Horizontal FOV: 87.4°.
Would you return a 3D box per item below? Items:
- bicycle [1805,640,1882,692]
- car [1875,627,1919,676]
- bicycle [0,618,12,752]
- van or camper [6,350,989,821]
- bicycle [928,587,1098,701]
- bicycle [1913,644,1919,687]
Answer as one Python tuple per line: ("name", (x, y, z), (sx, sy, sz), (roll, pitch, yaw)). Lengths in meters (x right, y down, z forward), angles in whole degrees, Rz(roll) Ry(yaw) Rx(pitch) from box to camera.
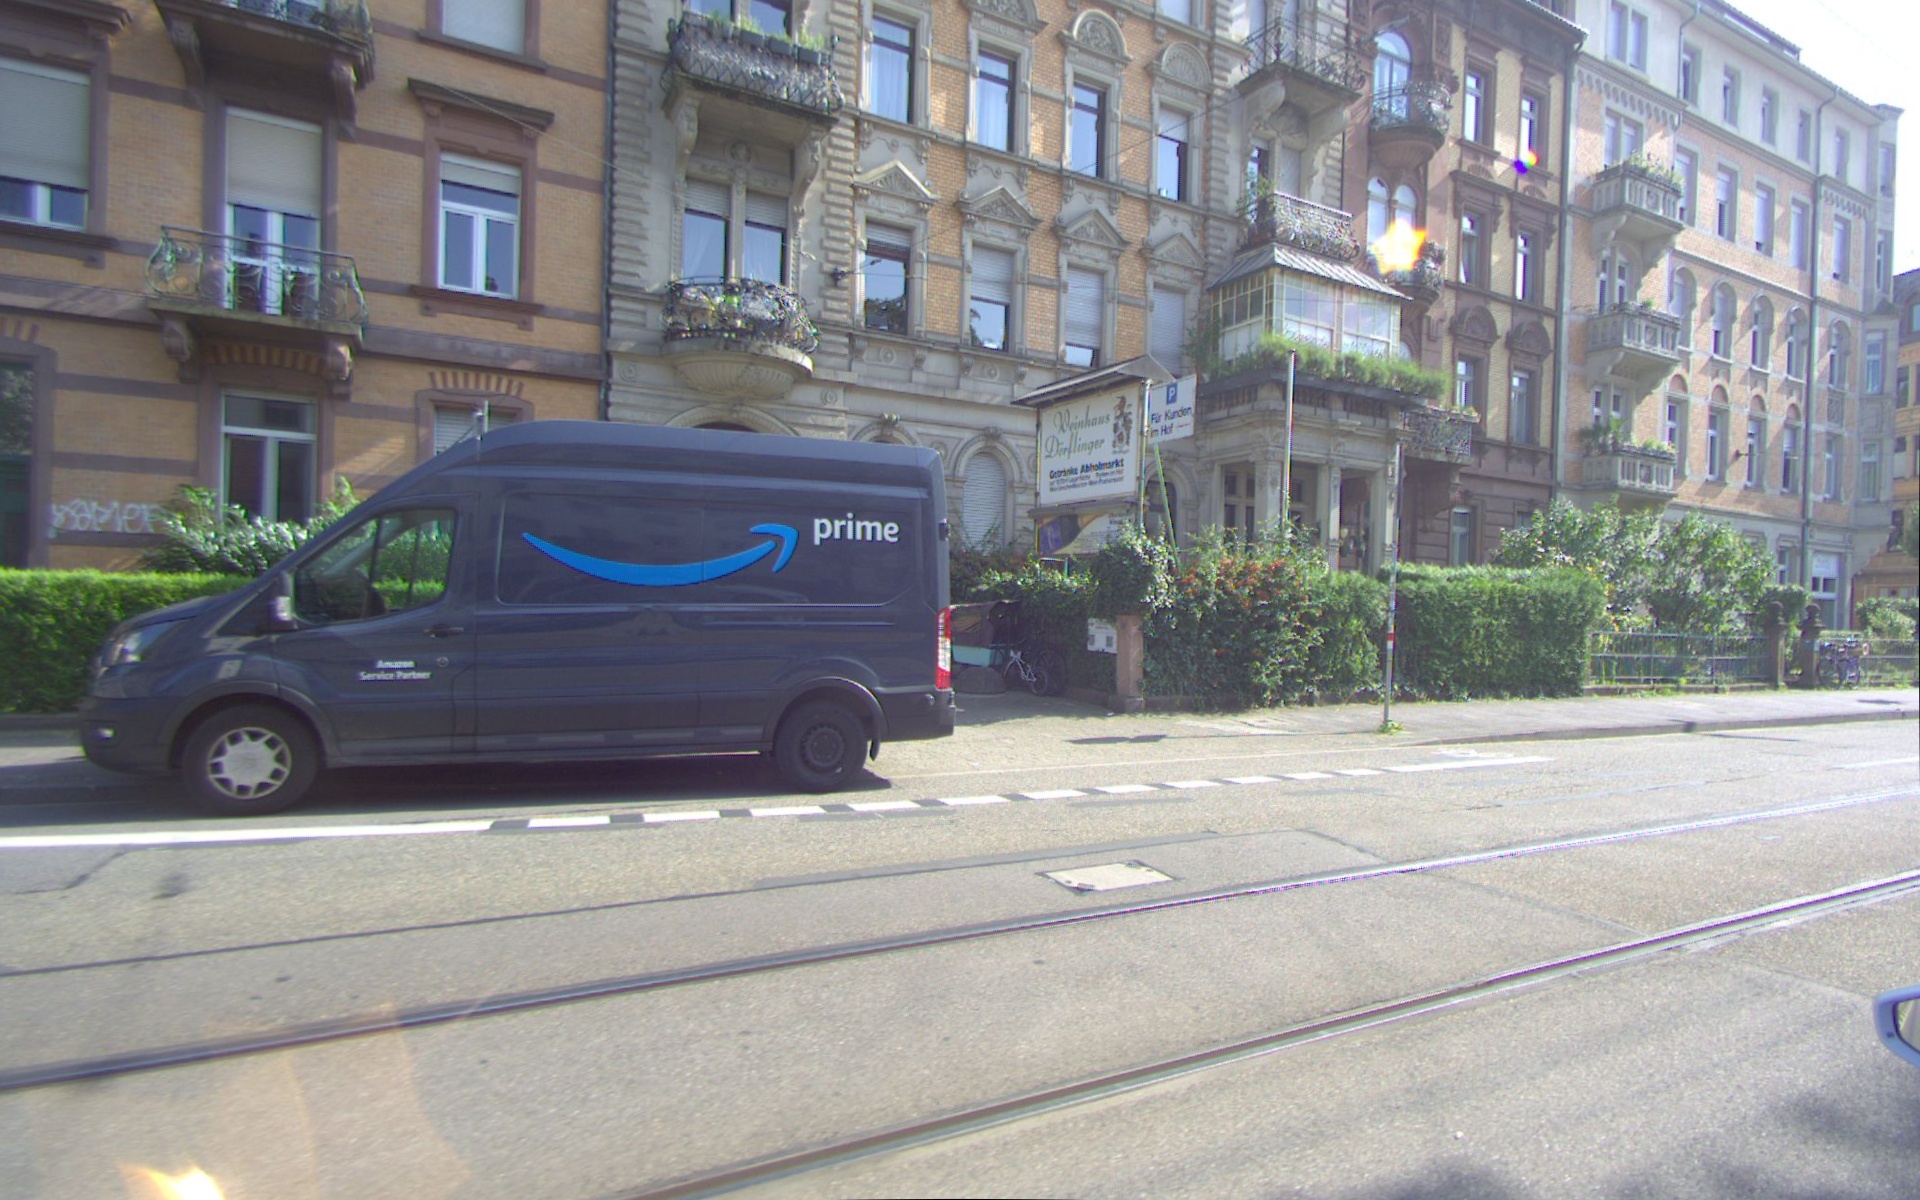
("bicycle", (20.059, 1.493, 22.798), (1.816, 1.072, 0.604), (2, 4, -27))
("car", (33.071, 1.786, 32.897), (2.040, 1.563, 4.118), (3, 0, -29))
("bicycle", (-8.220, 0.629, 7.076), (2.124, 1.020, 0.615), (2, 0, -29))
("van or camper", (-2.955, 0.032, 7.791), (6.001, 2.679, 2.046), (2, -1, -22))
("bicycle", (0.723, 0.594, 15.075), (0.988, 1.474, 2.856), (1, 1, -34))
("bicycle", (25.168, 1.692, 25.667), (1.816, 1.072, 0.542), (2, 4, -27))
